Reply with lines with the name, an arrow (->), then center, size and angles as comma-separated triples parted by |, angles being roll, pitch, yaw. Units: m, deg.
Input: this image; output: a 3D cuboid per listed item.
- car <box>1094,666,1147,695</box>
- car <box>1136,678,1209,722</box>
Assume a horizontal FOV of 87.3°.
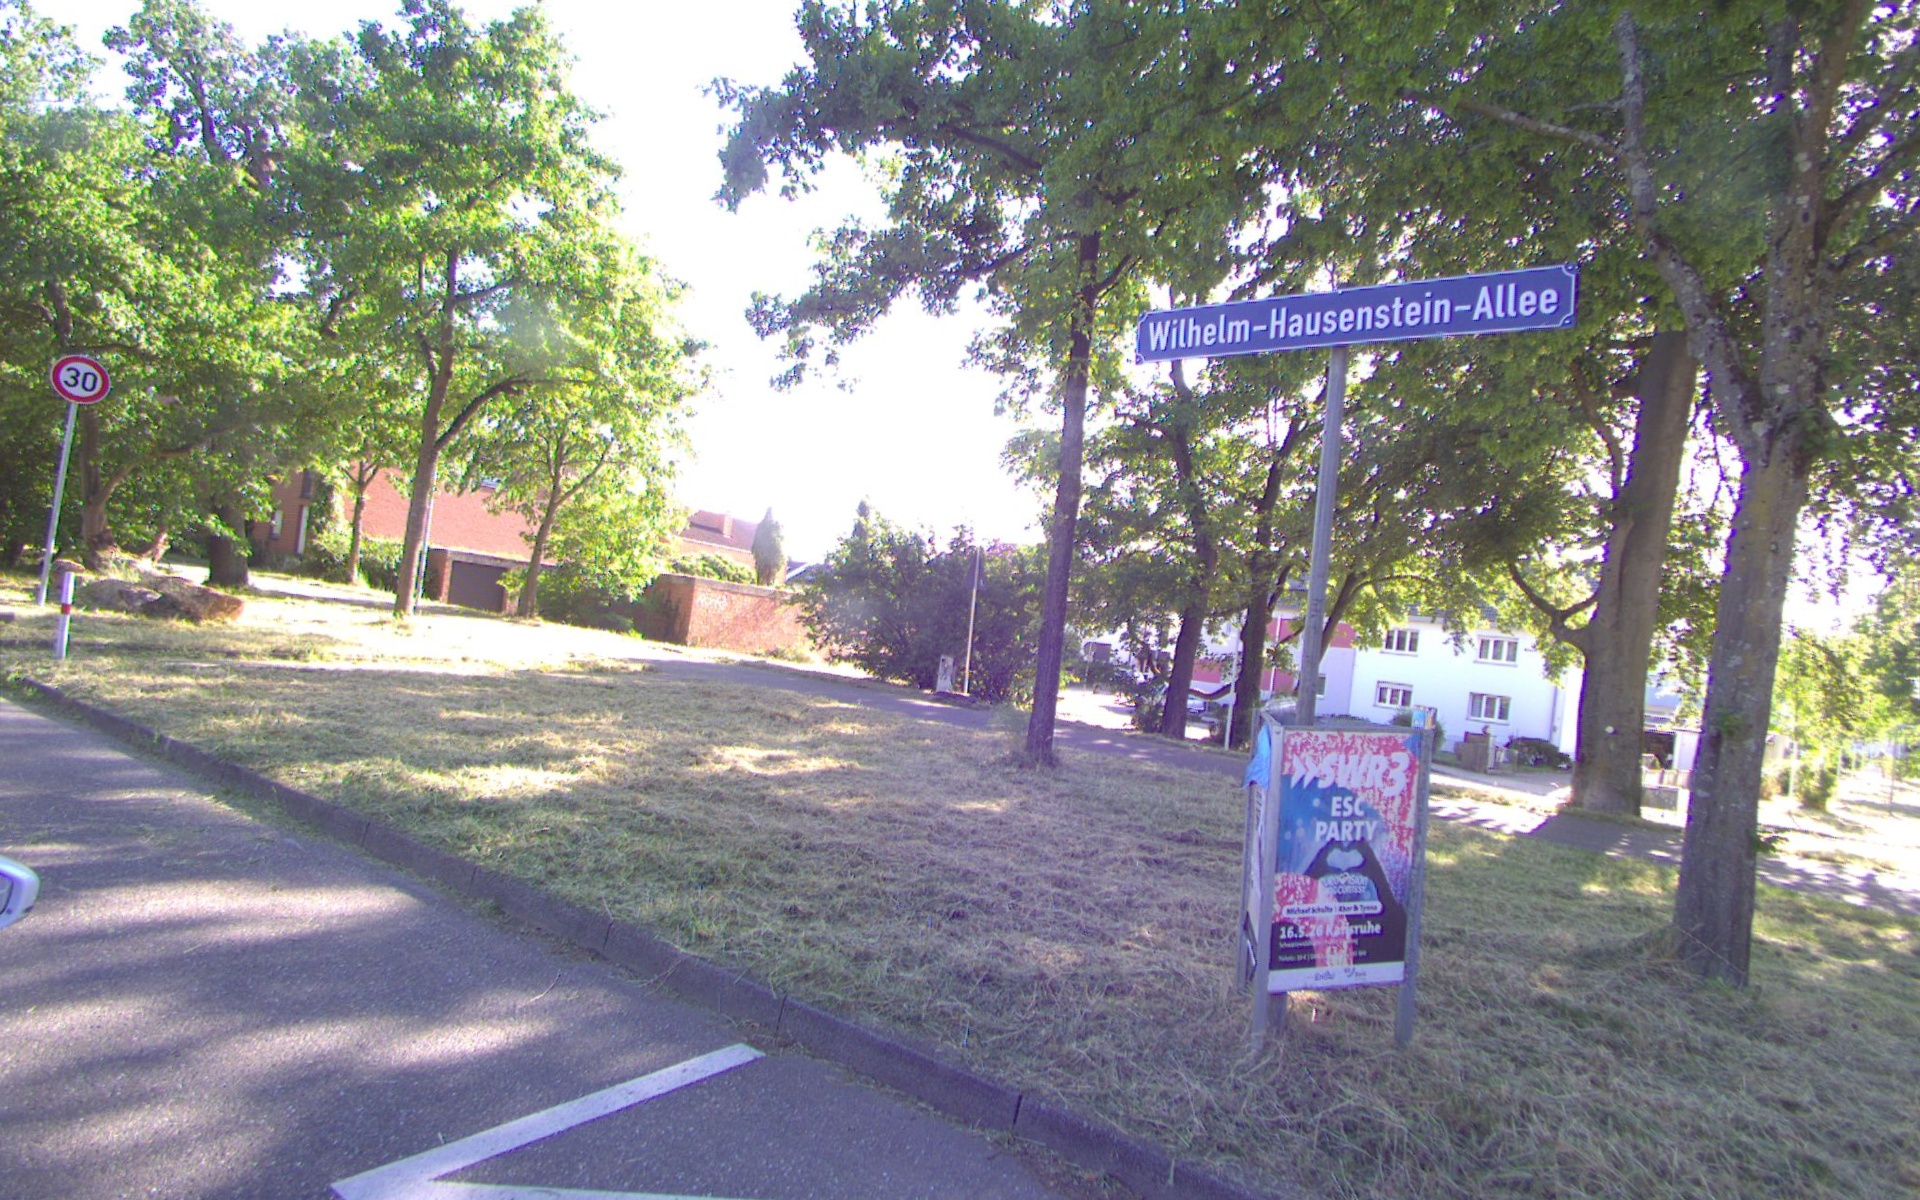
car -> 10.937, 5.472, 68.469 | 3.617, 1.515, 1.434 | 10, -3, -41
car -> 10.092, 4.746, 47.963 | 1.514, 1.569, 3.160 | 9, -2, -30
